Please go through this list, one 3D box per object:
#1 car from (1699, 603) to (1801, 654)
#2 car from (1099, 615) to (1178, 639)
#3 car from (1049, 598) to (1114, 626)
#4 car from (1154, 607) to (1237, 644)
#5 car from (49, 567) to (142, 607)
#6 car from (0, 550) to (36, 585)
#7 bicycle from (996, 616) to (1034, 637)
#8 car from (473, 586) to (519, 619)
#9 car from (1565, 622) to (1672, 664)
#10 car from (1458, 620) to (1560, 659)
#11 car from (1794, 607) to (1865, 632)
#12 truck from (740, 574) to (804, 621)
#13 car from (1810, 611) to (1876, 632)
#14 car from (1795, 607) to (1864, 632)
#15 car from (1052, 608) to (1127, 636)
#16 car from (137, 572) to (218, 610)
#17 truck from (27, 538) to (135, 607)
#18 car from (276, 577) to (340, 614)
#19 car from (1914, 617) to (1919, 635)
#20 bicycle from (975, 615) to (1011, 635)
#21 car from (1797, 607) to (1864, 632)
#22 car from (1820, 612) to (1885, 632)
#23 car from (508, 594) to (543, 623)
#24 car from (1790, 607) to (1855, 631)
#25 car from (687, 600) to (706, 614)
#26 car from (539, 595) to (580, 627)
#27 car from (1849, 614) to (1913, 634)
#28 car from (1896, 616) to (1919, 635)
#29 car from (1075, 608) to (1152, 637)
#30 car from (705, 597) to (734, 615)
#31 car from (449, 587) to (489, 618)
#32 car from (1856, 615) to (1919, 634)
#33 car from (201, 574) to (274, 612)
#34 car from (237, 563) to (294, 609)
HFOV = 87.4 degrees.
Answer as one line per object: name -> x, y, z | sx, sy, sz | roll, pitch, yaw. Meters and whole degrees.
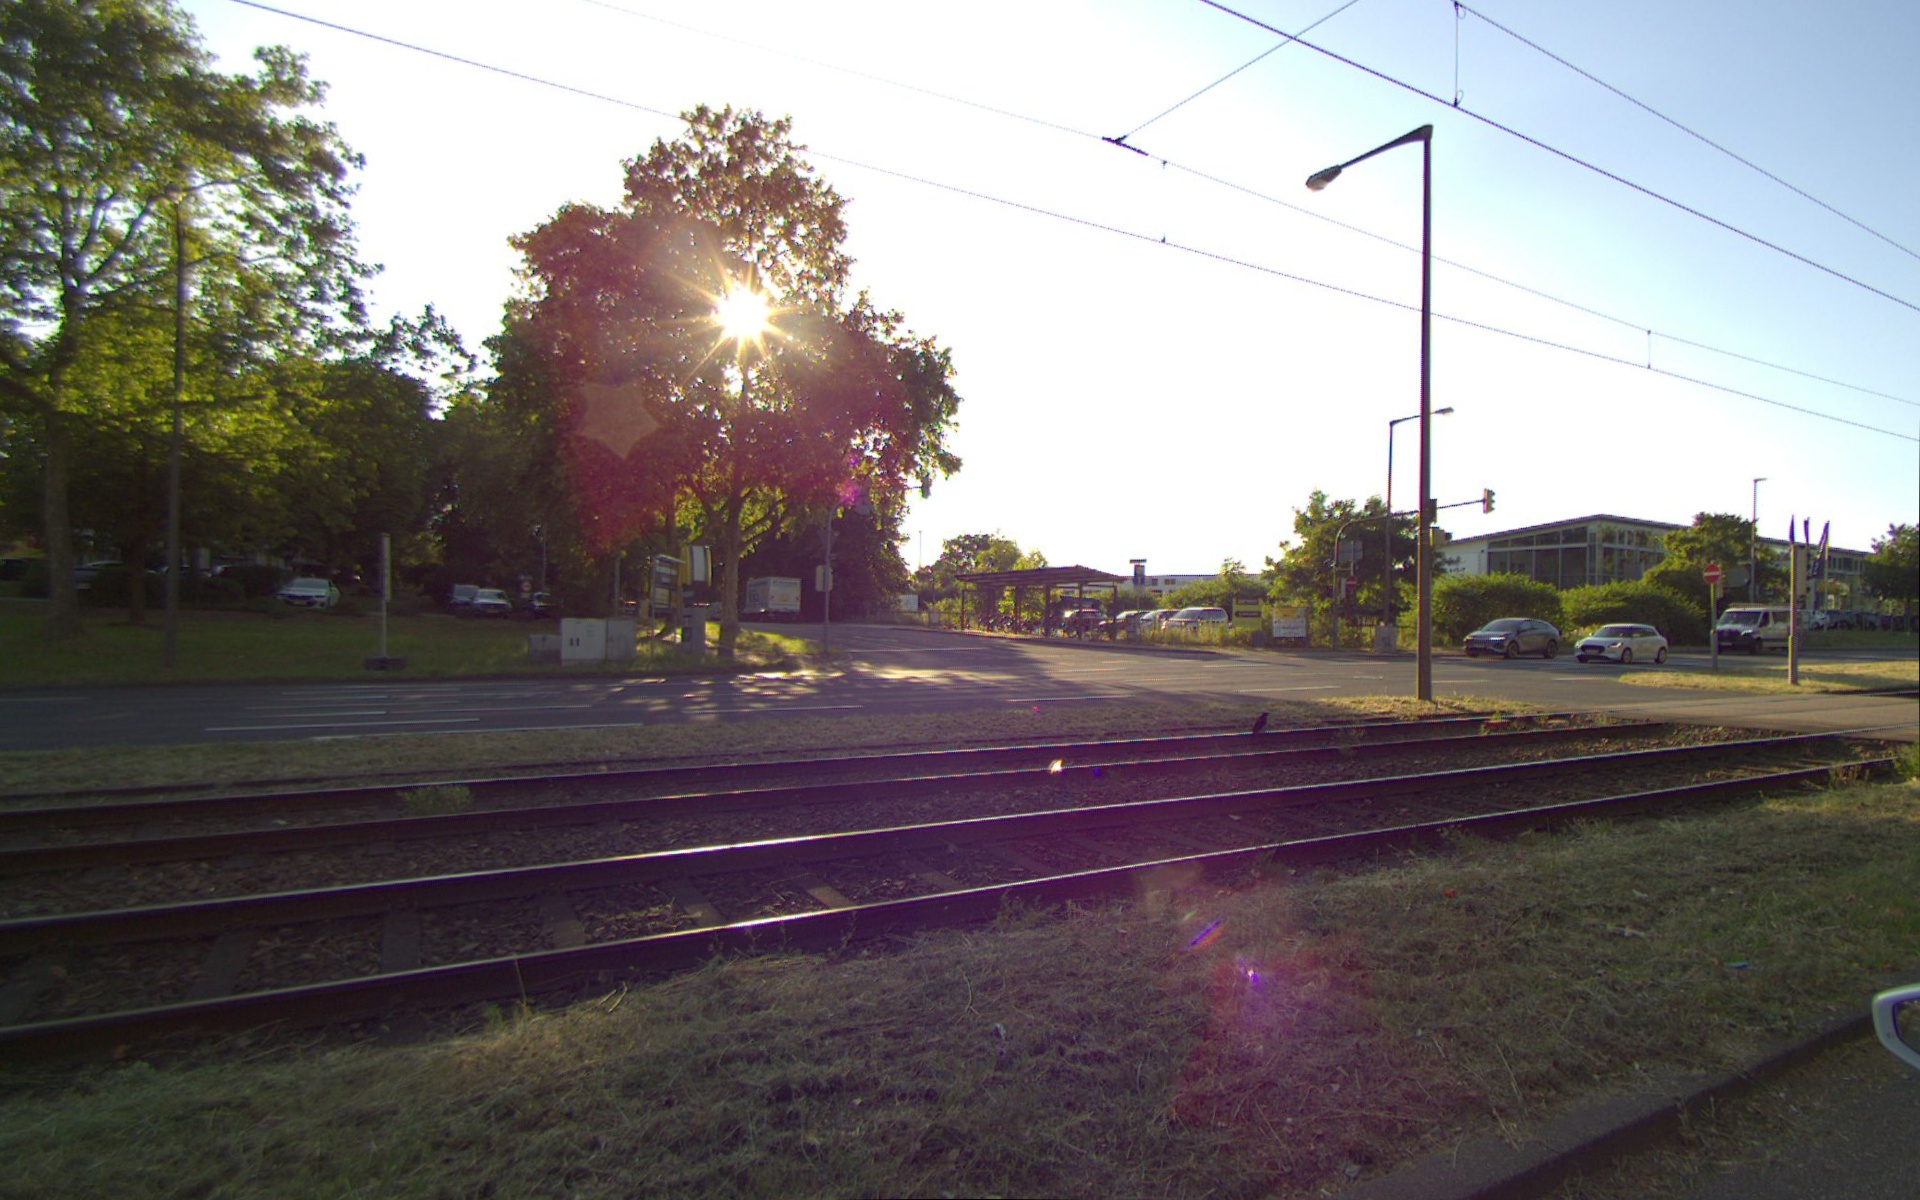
car -> 41.510, 1.479, 52.752 | 5.779, 2.494, 2.086 | 1, 0, -28
car -> 9.947, 1.488, 55.870 | 4.123, 1.284, 1.853 | 1, 0, -30
car -> 9.297, 0.936, 76.666 | 4.715, 2.041, 1.853 | 1, 0, -30
car -> 12.369, 1.327, 52.737 | 4.123, 1.846, 1.853 | 1, 0, -30
car -> -36.082, -0.547, 42.026 | 1.916, 1.530, 4.071 | 2, 0, -26
car -> -53.852, -1.871, 56.389 | 2.274, 1.875, 5.220 | 2, 0, -36
bicycle -> 3.077, 1.476, 56.415 | 2.004, 1.119, 0.777 | 2, 0, -30
car -> -22.928, 0.117, 49.593 | 1.916, 1.530, 4.071 | 2, 0, -26
car -> 25.535, 1.626, 38.937 | 4.043, 1.501, 1.853 | 1, 0, -30
car -> 23.105, 1.637, 42.265 | 4.120, 1.501, 1.854 | 1, 0, -29
car -> 65.189, 1.439, 75.368 | 3.940, 1.727, 1.735 | 1, 0, 40
truck -> -15.027, -0.236, 79.799 | 2.782, 3.520, 8.291 | 1, 0, -27
car -> 71.999, 1.743, 81.940 | 3.940, 1.577, 1.735 | 1, 0, 40
car -> 66.735, 1.488, 77.167 | 3.940, 1.727, 1.735 | 1, 0, 40
car -> 7.724, 1.292, 59.996 | 4.123, 1.604, 1.968 | 1, 0, -30
car -> -33.950, -0.385, 43.690 | 1.916, 1.530, 4.071 | 2, 0, -26
truck -> -44.506, -1.331, 51.071 | 2.468, 3.209, 6.187 | 2, 0, -26
car -> -29.426, -0.211, 45.443 | 1.916, 1.530, 4.071 | 2, 0, -26
car -> 91.309, 2.496, 93.016 | 1.725, 1.642, 3.962 | 1, 0, -34
bicycle -> 1.936, 1.454, 59.051 | 2.004, 1.119, 0.777 | 2, 0, -30
car -> 68.373, 1.486, 78.979 | 3.940, 1.840, 1.735 | 1, 0, 40
car -> 74.219, 1.838, 83.607 | 3.940, 1.577, 1.735 | 1, 0, 40
car -> -26.221, 0.511, 60.711 | 1.836, 1.637, 4.036 | 2, 0, -23
car -> 69.335, 1.504, 80.824 | 3.940, 1.840, 1.735 | 1, 0, 40
car -> -32.931, 0.867, 125.490 | 1.887, 1.602, 4.036 | 2, 0, -21
car -> -20.433, 0.529, 51.142 | 1.604, 1.477, 3.878 | 2, 0, -27
car -> 79.624, 2.060, 86.888 | 3.940, 1.577, 1.735 | 1, 0, 40
car -> 88.393, 2.380, 91.737 | 1.725, 1.642, 3.962 | 1, 0, -34
car -> 8.828, 1.285, 57.801 | 4.123, 1.604, 1.853 | 1, 0, -30
car -> -22.773, 0.553, 95.001 | 1.711, 1.603, 4.028 | 1, 0, -27
car -> -28.565, 0.134, 58.500 | 1.836, 1.637, 4.036 | 2, 0, -23
car -> 81.777, 2.148, 88.506 | 1.728, 1.576, 3.957 | 1, 0, -37
car -> -32.107, -0.312, 44.762 | 1.916, 1.530, 4.071 | 2, 0, -26
car -> -37.290, -0.742, 54.013 | 2.138, 2.334, 4.370 | 2, 0, -31
